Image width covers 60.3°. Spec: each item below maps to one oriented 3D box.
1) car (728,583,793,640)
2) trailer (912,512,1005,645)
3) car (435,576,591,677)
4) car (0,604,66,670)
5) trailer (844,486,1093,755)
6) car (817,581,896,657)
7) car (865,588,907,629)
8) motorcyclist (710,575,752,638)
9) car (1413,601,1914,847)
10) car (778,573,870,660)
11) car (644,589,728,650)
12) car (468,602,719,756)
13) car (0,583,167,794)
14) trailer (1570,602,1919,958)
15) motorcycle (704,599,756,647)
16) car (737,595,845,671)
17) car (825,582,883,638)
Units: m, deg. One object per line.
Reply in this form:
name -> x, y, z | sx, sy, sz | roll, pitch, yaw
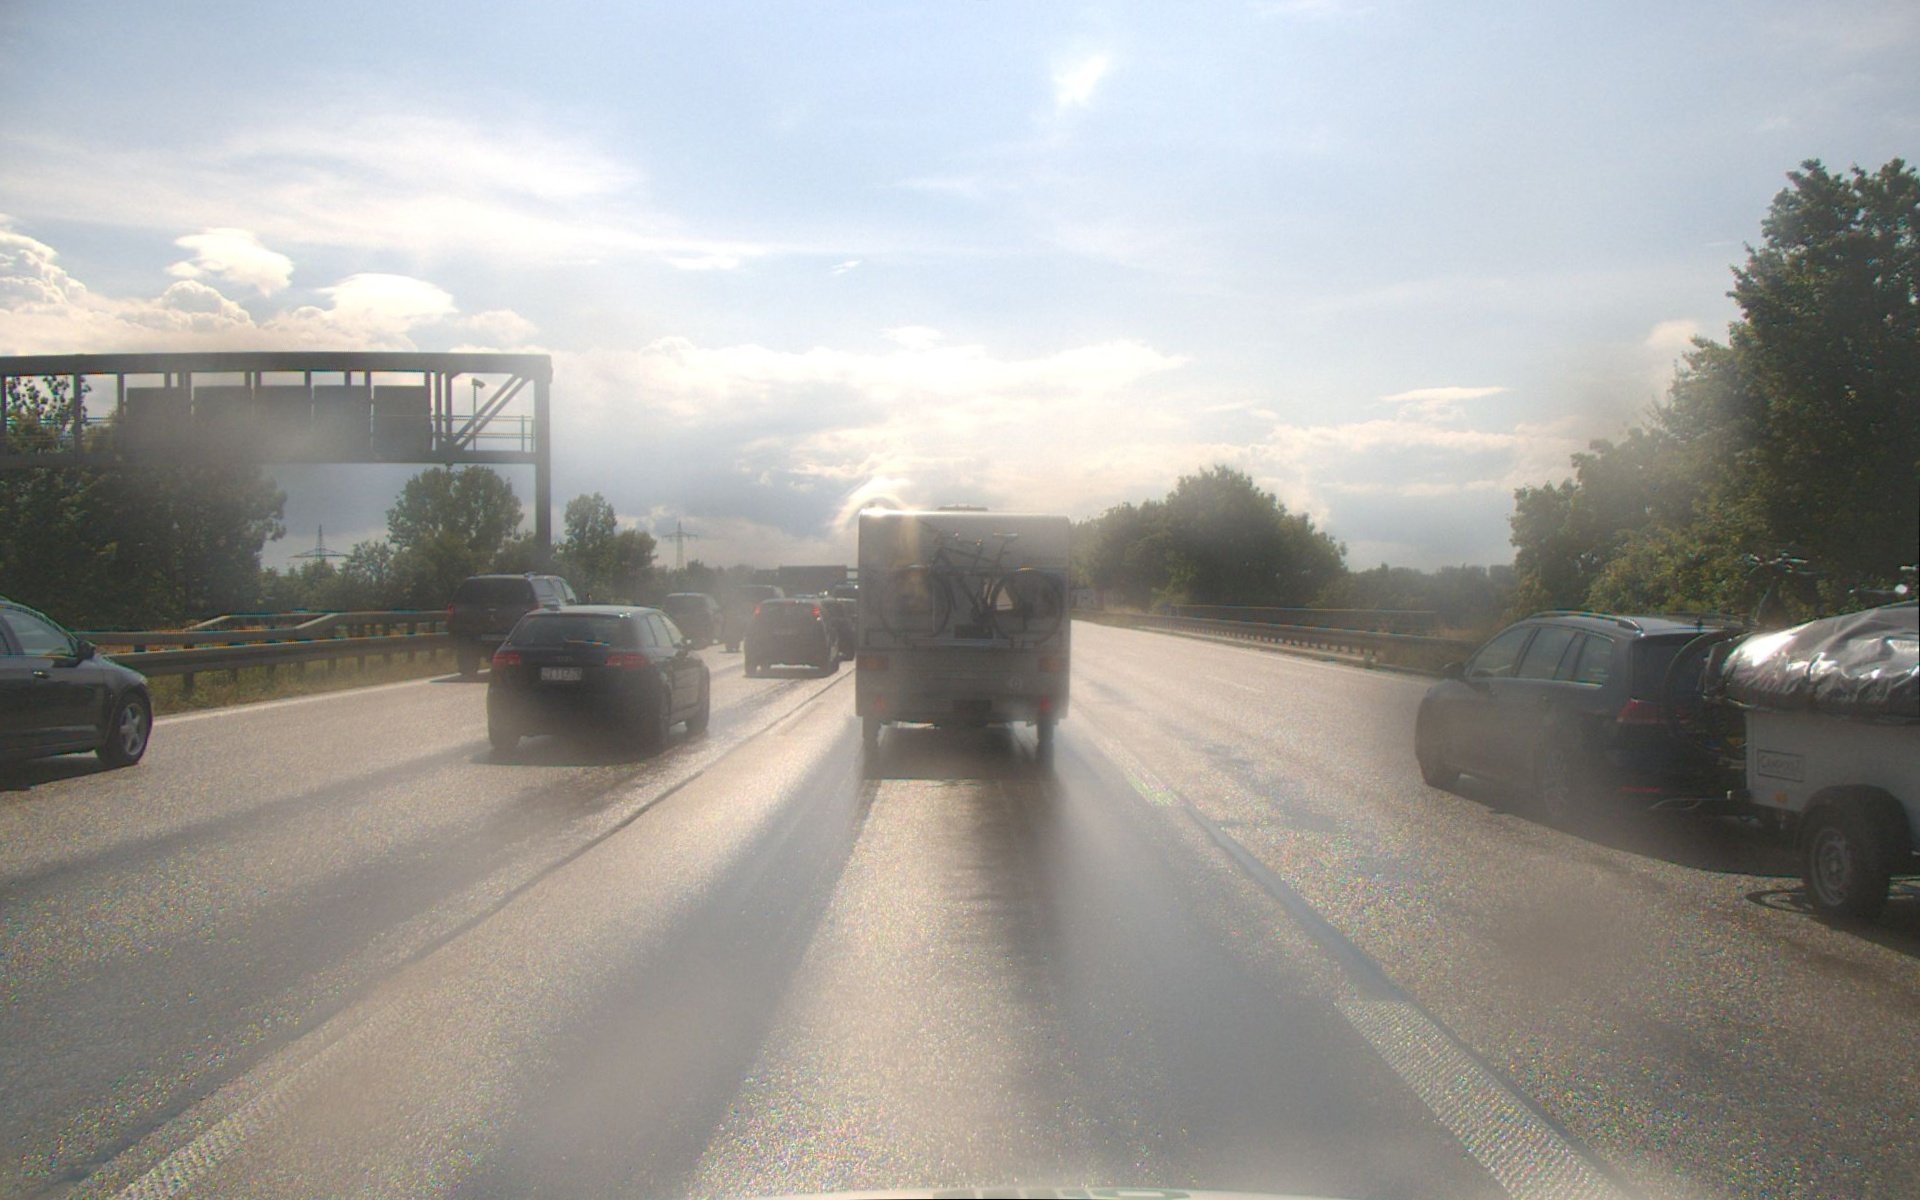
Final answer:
car -> -7.961, 0.451, 66.313 | 1.953, 2.048, 4.000 | 4, 0, 0
trailer -> 0.073, -0.679, 57.621 | 2.945, 4.239, 8.537 | 1, 0, 1
car -> -8.331, 0.482, 31.184 | 1.953, 1.750, 3.998 | 1, 0, -2
car -> -23.350, 0.872, 38.926 | 2.074, 1.513, 5.034 | 0, 0, -3
trailer -> 0.043, 0.209, 18.989 | 2.326, 2.527, 6.521 | 1, 0, -1
car -> -3.050, 0.554, 49.433 | 1.953, 2.048, 4.000 | 4, 0, 0
car -> -3.814, 0.410, 85.306 | 1.953, 2.049, 4.000 | 1, 0, 0
motorcyclist -> -6.368, 0.179, 46.022 | 1.042, 1.748, 0.785 | 0, -1, 0
car -> 4.830, 0.750, 12.105 | 1.817, 1.467, 4.257 | 0, 0, -1
car -> -3.401, 0.400, 41.942 | 1.953, 2.049, 4.000 | 1, 0, 0
car -> -8.570, 0.592, 52.029 | 1.953, 1.803, 4.000 | 1, 0, 0
car -> -3.686, 0.734, 17.303 | 1.721, 1.411, 3.945 | 0, 0, 0
car -> -7.859, 0.641, 12.466 | 1.721, 1.543, 4.208 | 0, 0, 0
trailer -> 4.869, 0.753, 8.620 | 1.817, 1.467, 4.147 | 0, 0, -1
motorcycle -> -6.367, 0.618, 45.970 | 1.052, 1.293, 2.690 | 0, 0, 0
car -> -3.361, 0.638, 33.545 | 1.769, 1.432, 3.999 | 1, 0, 0
car -> -4.084, 0.381, 64.399 | 1.953, 2.049, 4.000 | 2, 0, 0
